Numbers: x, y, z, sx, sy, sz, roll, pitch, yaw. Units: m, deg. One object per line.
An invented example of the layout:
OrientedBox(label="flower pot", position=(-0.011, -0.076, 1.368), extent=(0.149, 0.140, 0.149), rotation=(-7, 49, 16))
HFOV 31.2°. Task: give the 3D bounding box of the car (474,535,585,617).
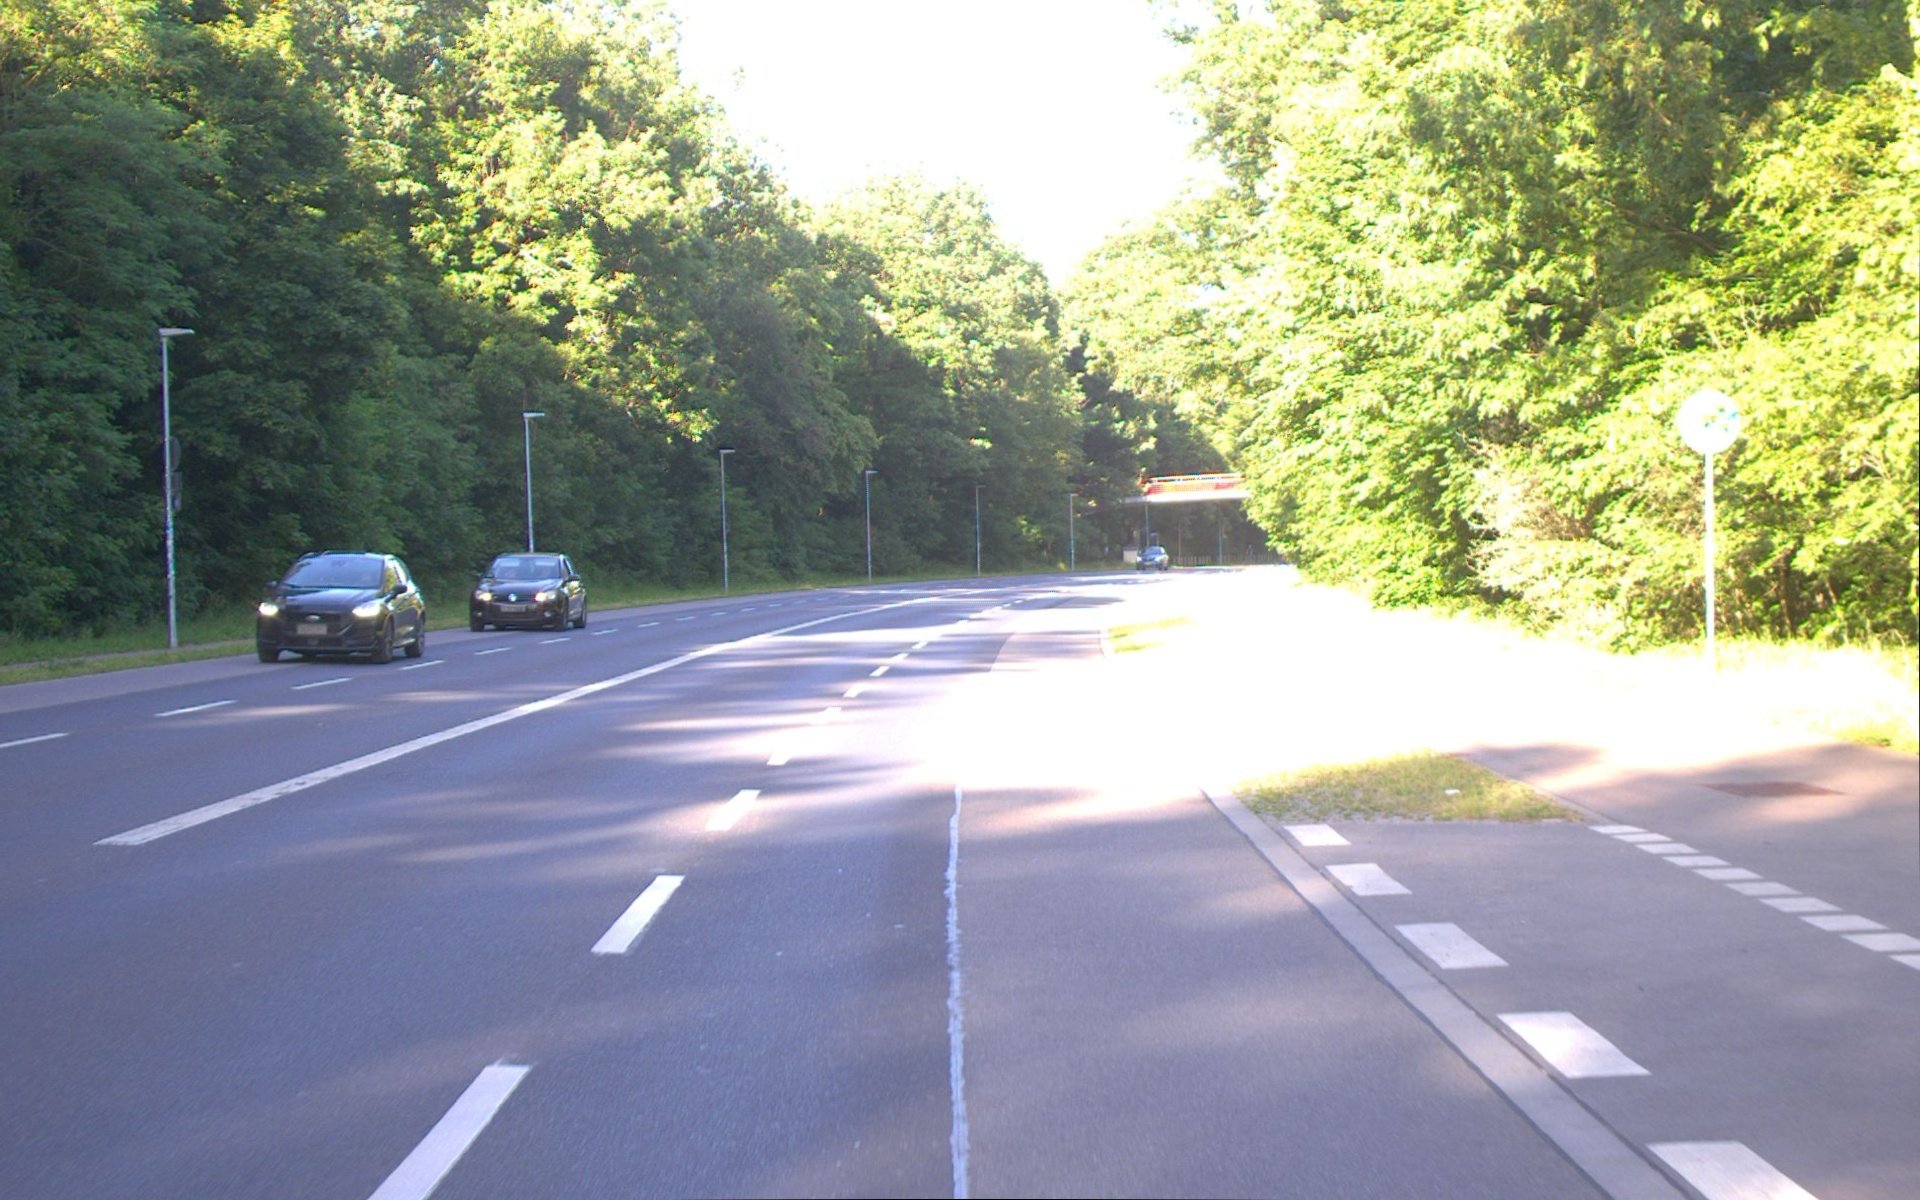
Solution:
OrientedBox(label="car", position=(-8.023, -0.468, 64.349), extent=(1.657, 1.475, 4.173), rotation=(0, 1, -1))

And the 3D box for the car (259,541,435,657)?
OrientedBox(label="car", position=(-8.260, -0.046, 46.633), extent=(1.738, 1.452, 3.999), rotation=(1, 1, -1))
